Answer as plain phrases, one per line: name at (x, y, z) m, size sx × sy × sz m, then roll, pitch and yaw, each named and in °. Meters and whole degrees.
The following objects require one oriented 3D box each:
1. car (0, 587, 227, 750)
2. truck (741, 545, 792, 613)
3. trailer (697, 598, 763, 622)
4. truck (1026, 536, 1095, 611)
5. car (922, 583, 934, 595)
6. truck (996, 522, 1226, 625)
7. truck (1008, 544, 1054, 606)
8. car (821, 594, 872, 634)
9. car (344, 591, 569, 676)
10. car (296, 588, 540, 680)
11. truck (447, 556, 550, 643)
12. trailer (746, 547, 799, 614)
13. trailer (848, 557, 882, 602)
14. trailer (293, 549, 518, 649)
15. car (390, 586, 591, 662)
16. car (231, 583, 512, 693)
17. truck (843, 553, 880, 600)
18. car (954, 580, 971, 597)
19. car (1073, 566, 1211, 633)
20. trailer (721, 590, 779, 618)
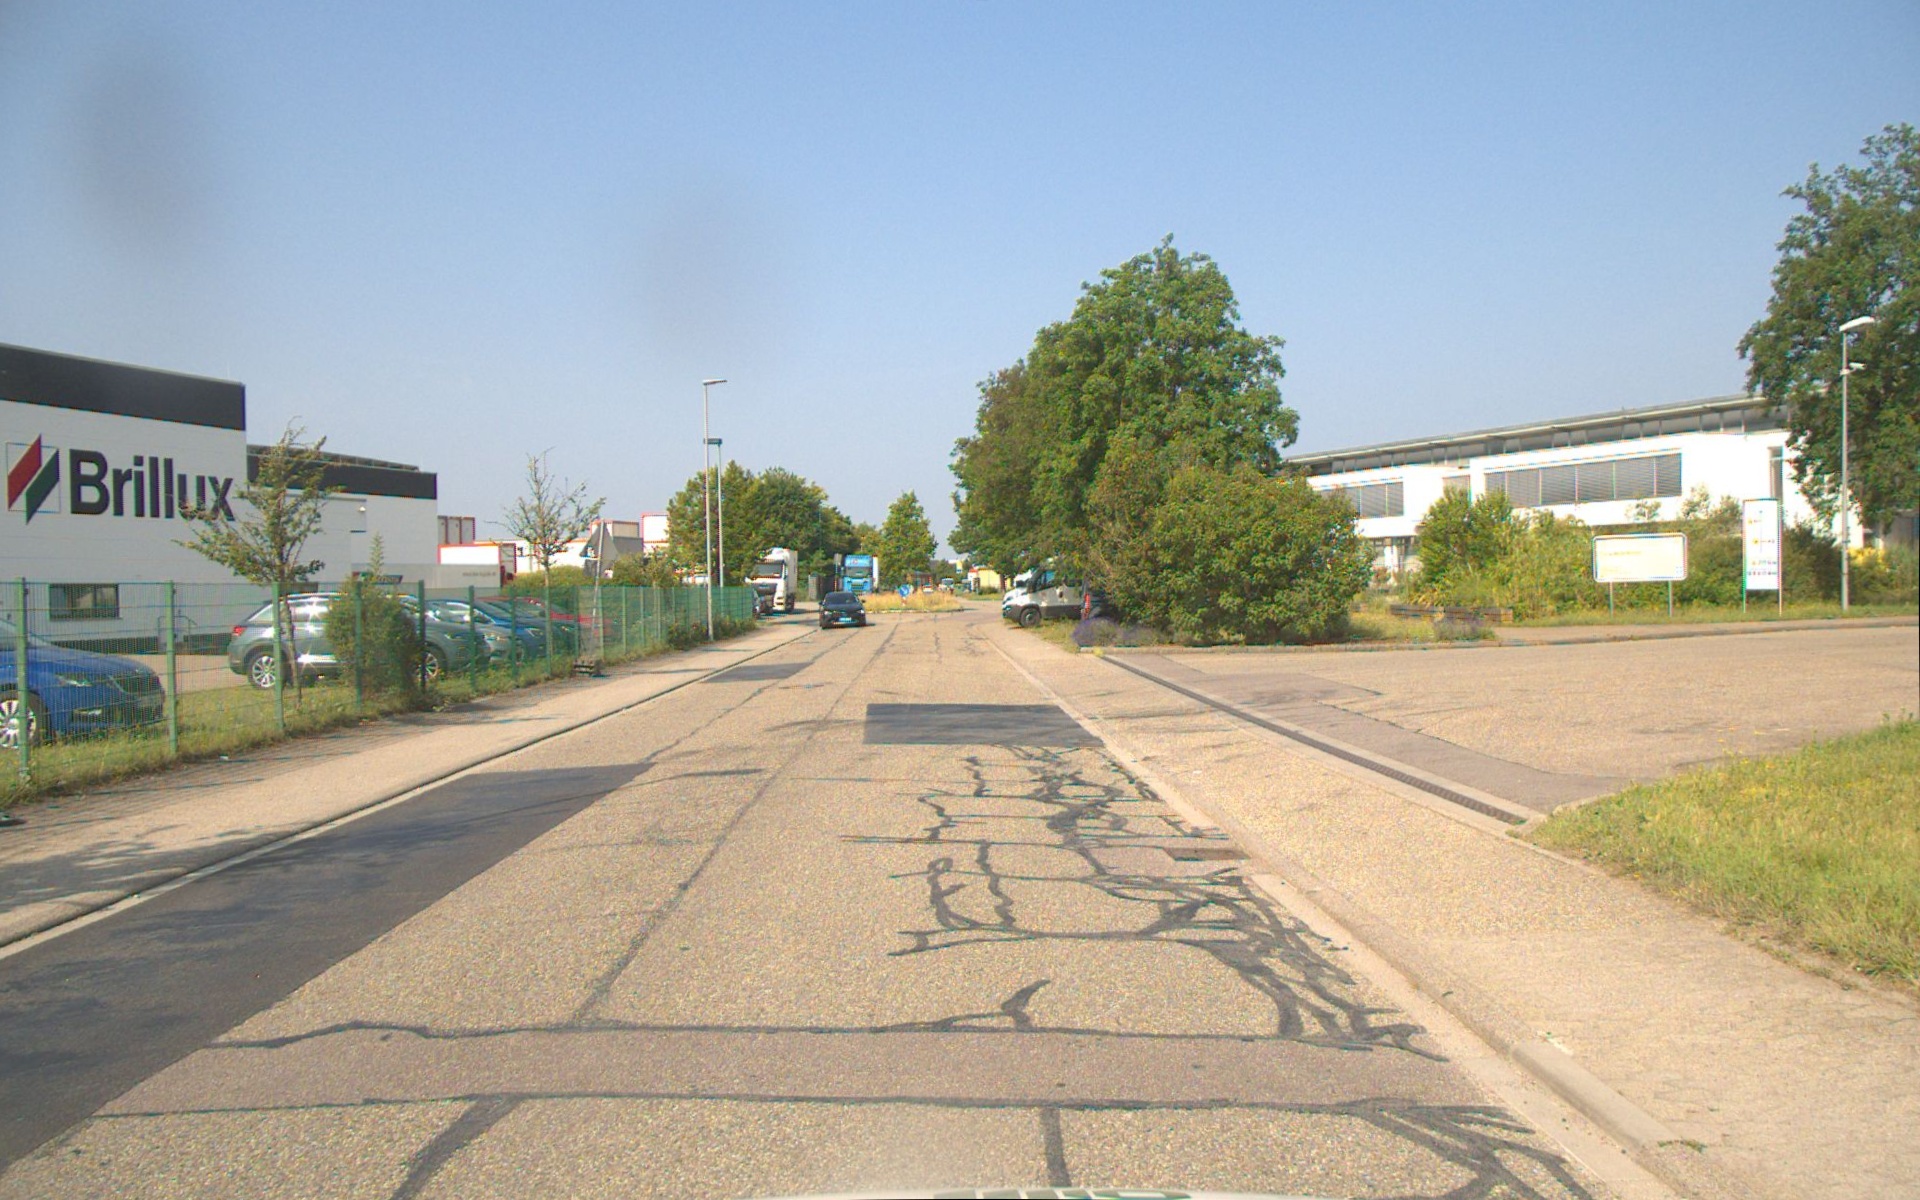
car at (-10.157, 0.727, 16.604) m, size 4.592 × 1.469 × 2.077 m, roll -3°, pitch 0°, yaw -2°
truck at (-11.644, -1.209, 99.875) m, size 2.654 × 3.990 × 4.295 m, roll 1°, pitch -1°, yaw -2°
trailer at (-11.105, 0.469, 80.394) m, size 2.496 × 0.941 × 6.707 m, roll 2°, pitch 1°, yaw -2°
truck at (5.368, -1.339, 89.992) m, size 2.830 × 3.596 × 9.753 m, roll -5°, pitch 0°, yaw 0°
car at (-4.828, -1.668, 250.668) m, size 1.684 × 1.690 × 3.821 m, roll 1°, pitch -1°, yaw -3°
truck at (5.445, -0.935, 60.669) m, size 8.044 × 3.429 × 2.740 m, roll -2°, pitch -1°, yaw -2°
truck at (4.851, -1.693, 113.930) m, size 2.690 × 4.050 × 3.999 m, roll -4°, pitch 0°, yaw -1°
car at (-4.701, 0.557, 69.051) m, size 1.954 × 1.474 × 4.417 m, roll -4°, pitch 0°, yaw -3°
car at (-10.179, 0.656, 33.681) m, size 3.959 × 1.469 × 1.873 m, roll -3°, pitch 0°, yaw -2°
car at (-10.199, 0.615, 31.370) m, size 3.959 × 1.469 × 1.873 m, roll -3°, pitch 0°, yaw -2°
truck at (-22.843, 0.012, 82.149) m, size 2.459 × 4.142 × 5.548 m, roll 0°, pitch -1°, yaw 14°
trailer at (-11.776, -1.162, 104.231) m, size 2.645 × 3.990 × 7.572 m, roll 1°, pitch -1°, yaw -2°
trailer at (-8.781, -1.846, 154.060) m, size 2.774 × 3.910 × 12.032 m, roll 1°, pitch -1°, yaw -1°
trailer at (-24.689, 0.020, 74.923) m, size 2.429 × 4.112 × 13.898 m, roll 0°, pitch -1°, yaw 14°
car at (-10.556, 0.524, 37.406) m, size 3.959 × 1.469 × 1.873 m, roll -3°, pitch 0°, yaw -2°
car at (-9.922, 0.612, 28.118) m, size 4.044 × 1.595 × 1.864 m, roll -3°, pitch 0°, yaw -2°
truck at (-8.546, -2.000, 144.424) m, size 2.768 × 3.893 × 9.669 m, roll 1°, pitch -1°, yaw -1°
car at (0.311, -1.298, 185.186) m, size 1.756 × 1.780 × 3.998 m, roll 1°, pitch -1°, yaw -2°
car at (5.470, -0.018, 50.027) m, size 3.905 × 1.870 × 2.000 m, roll -2°, pitch 0°, yaw 0°
trailer at (-11.805, 0.185, 93.275) m, size 2.626 × 1.479 × 5.077 m, roll 0°, pitch 1°, yaw 0°
